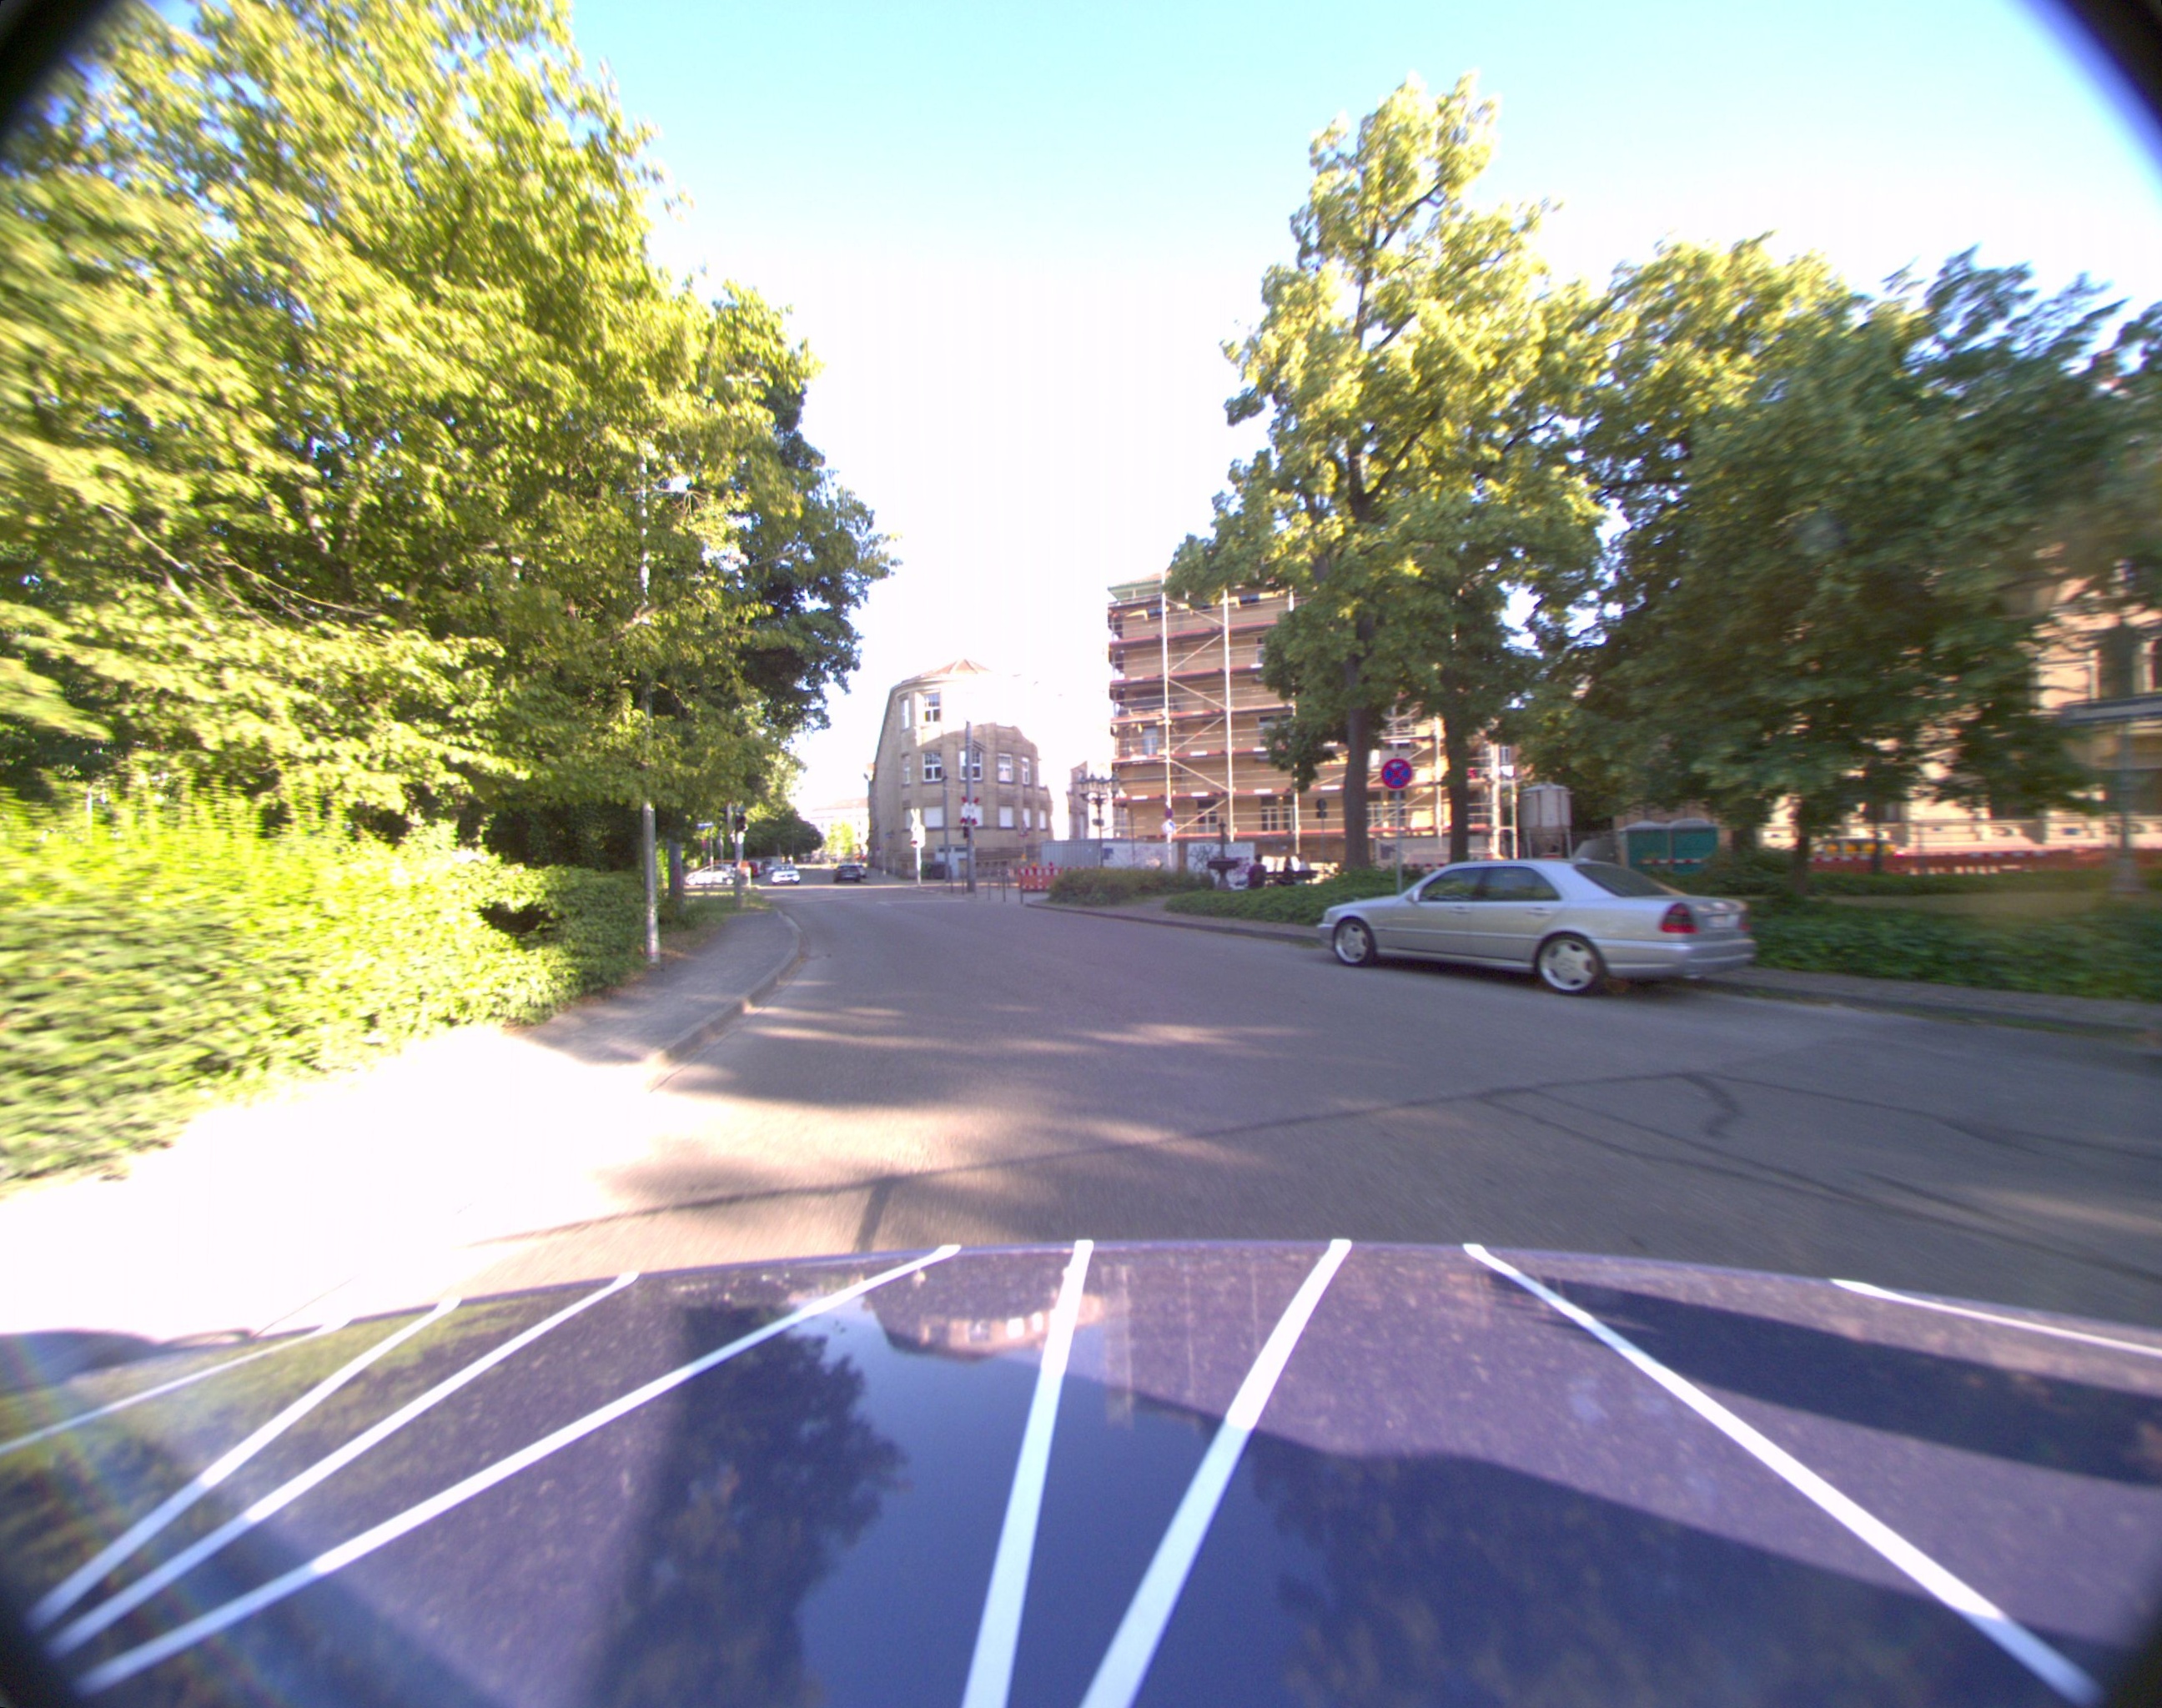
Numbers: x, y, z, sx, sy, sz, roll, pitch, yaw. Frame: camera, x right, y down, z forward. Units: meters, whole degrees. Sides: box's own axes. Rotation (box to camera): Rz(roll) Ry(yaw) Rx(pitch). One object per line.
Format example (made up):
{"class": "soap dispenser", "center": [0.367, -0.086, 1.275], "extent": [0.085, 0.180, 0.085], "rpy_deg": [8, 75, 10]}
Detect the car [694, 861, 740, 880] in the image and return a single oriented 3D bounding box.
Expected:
{"class": "car", "center": [-31.320, 1.397, 65.431], "extent": [3.410, 1.622, 1.677], "rpy_deg": [1, 0, -19]}

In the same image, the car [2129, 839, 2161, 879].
{"class": "car", "center": [36.983, 0.115, 23.988], "extent": [4.211, 1.270, 1.915], "rpy_deg": [-1, 1, 21]}

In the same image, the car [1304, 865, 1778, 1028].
{"class": "car", "center": [4.957, 0.839, 8.971], "extent": [1.788, 1.407, 4.488], "rpy_deg": [1, -1, -29]}

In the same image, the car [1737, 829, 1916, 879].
{"class": "car", "center": [26.751, 0.011, 27.466], "extent": [4.211, 1.646, 1.915], "rpy_deg": [-1, 1, 21]}

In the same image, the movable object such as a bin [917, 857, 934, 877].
{"class": "movable object such as a bin", "center": [-11.801, 1.005, 57.643], "extent": [1.150, 1.477, 1.626], "rpy_deg": [-1, 0, -10]}

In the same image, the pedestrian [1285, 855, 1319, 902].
{"class": "pedestrian", "center": [5.900, 0.648, 20.280], "extent": [0.553, 1.226, 0.724], "rpy_deg": [-2, 0, -16]}

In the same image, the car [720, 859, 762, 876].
{"class": "car", "center": [-37.472, 1.430, 83.884], "extent": [3.987, 1.852, 1.917], "rpy_deg": [0, 0, -14]}

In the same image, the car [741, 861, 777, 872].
{"class": "car", "center": [-45.419, 1.797, 107.273], "extent": [4.448, 1.458, 1.708], "rpy_deg": [-1, 0, -16]}

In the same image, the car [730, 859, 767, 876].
{"class": "car", "center": [-37.826, 1.559, 86.561], "extent": [3.615, 1.873, 1.781], "rpy_deg": [0, 0, -15]}

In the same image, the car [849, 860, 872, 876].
{"class": "car", "center": [-21.588, 1.370, 74.135], "extent": [1.751, 1.426, 4.553], "rpy_deg": [-3, 1, -21]}

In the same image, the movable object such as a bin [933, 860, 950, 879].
{"class": "movable object such as a bin", "center": [-10.462, 1.147, 56.886], "extent": [1.186, 1.420, 1.920], "rpy_deg": [-1, 0, -10]}

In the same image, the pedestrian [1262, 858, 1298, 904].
{"class": "pedestrian", "center": [5.295, 0.702, 20.247], "extent": [0.553, 1.188, 0.883], "rpy_deg": [-2, 0, -16]}

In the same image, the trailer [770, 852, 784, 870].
{"class": "trailer", "center": [-47.077, 1.070, 117.621], "extent": [1.603, 2.625, 3.697], "rpy_deg": [-1, 0, -16]}

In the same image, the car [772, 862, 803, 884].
{"class": "car", "center": [-21.648, 1.387, 56.142], "extent": [1.690, 1.445, 4.097], "rpy_deg": [-1, 0, -14]}

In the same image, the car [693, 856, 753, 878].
{"class": "car", "center": [-32.020, 1.160, 68.081], "extent": [4.817, 1.986, 2.077], "rpy_deg": [1, 0, -23]}

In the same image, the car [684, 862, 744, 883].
{"class": "car", "center": [-27.987, 1.389, 58.043], "extent": [4.005, 1.537, 1.732], "rpy_deg": [1, 0, -23]}

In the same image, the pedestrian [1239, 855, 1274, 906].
{"class": "pedestrian", "center": [4.583, 0.690, 19.853], "extent": [0.553, 1.290, 0.764], "rpy_deg": [-2, 0, -16]}

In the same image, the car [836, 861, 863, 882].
{"class": "car", "center": [-17.539, 1.287, 57.397], "extent": [1.751, 1.439, 4.201], "rpy_deg": [-1, 0, -19]}
